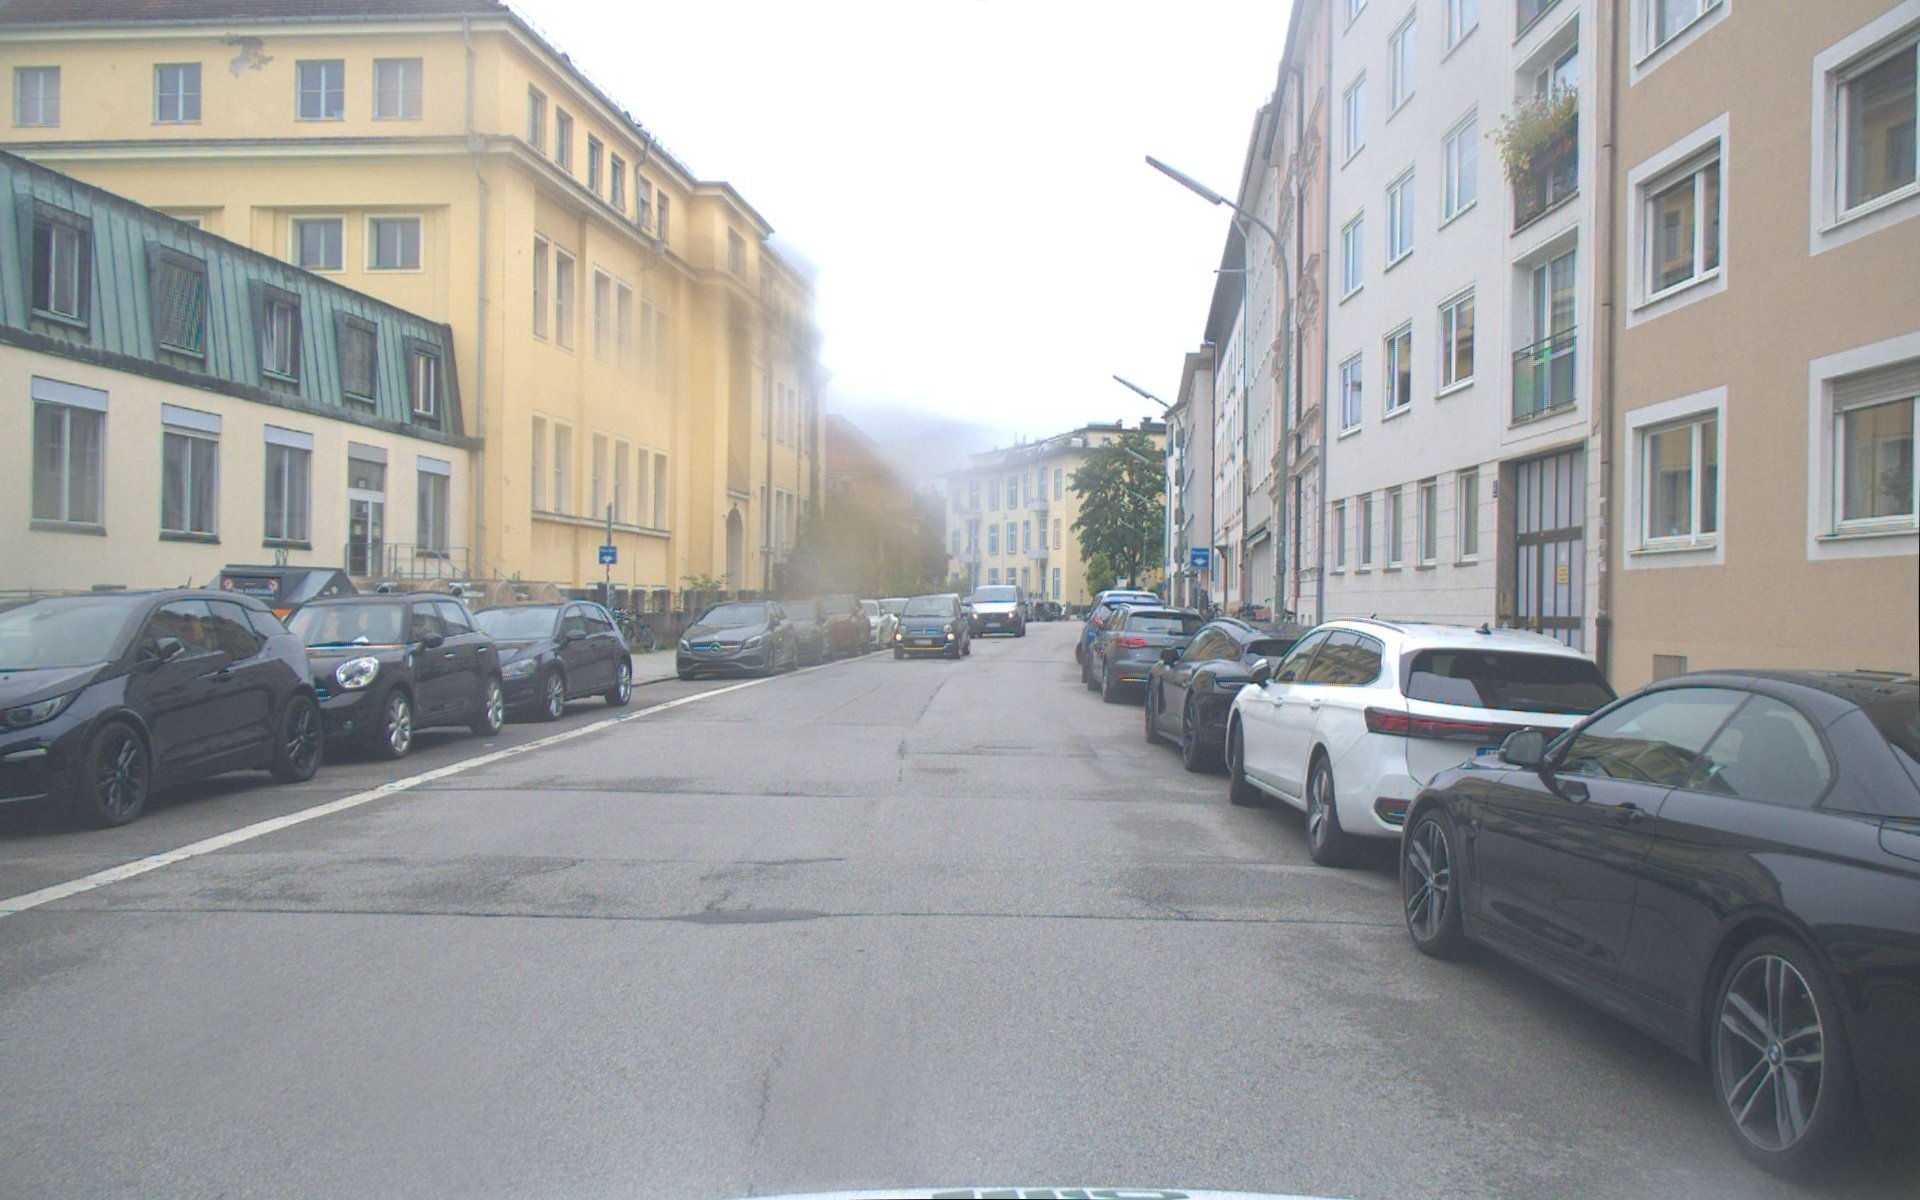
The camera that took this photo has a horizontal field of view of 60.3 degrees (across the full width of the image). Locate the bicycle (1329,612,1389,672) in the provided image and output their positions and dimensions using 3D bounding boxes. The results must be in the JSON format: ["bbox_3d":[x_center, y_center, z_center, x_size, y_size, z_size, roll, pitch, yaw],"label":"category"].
[{"bbox_3d":[7.553,0.776,31.376,0.518,1.090,1.999,1,0,-4],"label":"bicycle"}]

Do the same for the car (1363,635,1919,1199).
[{"bbox_3d":[3.091,0.937,6.007,1.723,1.389,4.777,5,-1,-4],"label":"car"}]

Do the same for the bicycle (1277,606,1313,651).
[{"bbox_3d":[8.101,0.686,40.087,0.583,1.042,1.818,0,0,3],"label":"bicycle"}]

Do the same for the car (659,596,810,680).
[{"bbox_3d":[-4.307,0.713,32.324,1.972,1.443,4.618,-2,-1,4],"label":"car"}]

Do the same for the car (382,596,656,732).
[{"bbox_3d":[-5.580,0.744,21.594,1.873,1.508,4.535,-2,0,6],"label":"car"}]

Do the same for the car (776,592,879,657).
[{"bbox_3d":[-3.292,0.604,41.976,1.917,1.508,4.531,-2,-1,4],"label":"car"}]

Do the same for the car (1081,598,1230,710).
[{"bbox_3d":[2.948,0.772,25.765,1.671,1.479,4.401,3,0,-1],"label":"car"}]

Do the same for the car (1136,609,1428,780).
[{"bbox_3d":[3.052,0.830,16.834,1.915,1.439,5.112,1,0,-1],"label":"car"}]

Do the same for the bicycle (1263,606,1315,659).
[{"bbox_3d":[7.309,0.707,36.841,0.708,1.132,1.994,1,0,-2],"label":"bicycle"}]

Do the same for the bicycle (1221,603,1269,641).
[{"bbox_3d":[8.616,0.645,49.919,0.610,1.108,1.804,0,0,40],"label":"bicycle"}]

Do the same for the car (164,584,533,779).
[{"bbox_3d":[-5.992,0.703,16.845,1.873,1.615,4.354,-3,1,3],"label":"car"}]

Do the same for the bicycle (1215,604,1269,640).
[{"bbox_3d":[8.615,0.662,50.520,1.827,1.086,0.509,0,0,-37],"label":"bicycle"}]

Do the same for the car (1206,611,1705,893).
[{"bbox_3d":[3.052,0.839,11.433,1.816,1.439,5.013,1,0,-2],"label":"car"}]

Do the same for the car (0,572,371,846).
[{"bbox_3d":[-6.255,0.691,12.342,1.841,1.665,4.351,-2,0,4],"label":"car"}]

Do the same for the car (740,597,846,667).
[{"bbox_3d":[-3.698,0.692,37.331,1.713,1.429,4.356,-2,0,3],"label":"car"}]

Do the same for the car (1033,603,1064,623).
[{"bbox_3d":[8.912,1.303,166.824,1.734,1.907,4.360,5,-1,-15],"label":"car"}]

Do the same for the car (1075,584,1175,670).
[{"bbox_3d":[3.524,0.561,35.843,1.647,1.702,3.803,2,0,-2],"label":"car"}]

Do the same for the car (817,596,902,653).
[{"bbox_3d":[-2.847,0.686,47.654,1.756,1.454,4.667,-3,-1,4],"label":"car"}]

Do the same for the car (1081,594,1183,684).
[{"bbox_3d":[3.171,0.664,30.558,1.705,1.520,4.551,1,0,6],"label":"car"}]

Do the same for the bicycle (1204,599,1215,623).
[{"bbox_3d":[13.639,0.598,90.262,0.518,1.239,2.104,1,0,7],"label":"bicycle"}]

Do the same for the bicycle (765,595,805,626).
[{"bbox_3d":[-7.333,0.457,69.468,1.591,1.290,0.527,0,0,7],"label":"bicycle"}]

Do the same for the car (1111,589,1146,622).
[{"bbox_3d":[13.177,0.453,129.615,2.037,2.272,5.243,5,-2,0],"label":"car"}]

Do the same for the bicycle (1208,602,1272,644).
[{"bbox_3d":[8.077,0.659,47.686,2.070,1.159,0.576,0,0,-38],"label":"bicycle"}]

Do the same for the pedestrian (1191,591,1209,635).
[{"bbox_3d":[10.248,0.562,70.616,0.707,1.794,0.905,1,-3,7],"label":"pedestrian"}]

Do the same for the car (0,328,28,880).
[{"bbox_3d":[-6.043,0.032,5.761,2.168,2.903,6.194,-2,0,-2],"label":"car"}]

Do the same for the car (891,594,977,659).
[{"bbox_3d":[-0.595,0.621,40.764,1.626,1.500,3.710,-1,0,6],"label":"car"}]

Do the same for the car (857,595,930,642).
[{"bbox_3d":[-2.164,0.599,55.210,1.747,1.457,4.655,1,0,6],"label":"car"}]

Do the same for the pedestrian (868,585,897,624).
[{"bbox_3d":[-3.434,0.193,73.422,0.883,1.749,1.058,-1,0,23],"label":"pedestrian"}]

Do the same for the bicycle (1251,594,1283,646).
[{"bbox_3d":[8.479,0.534,45.769,0.583,1.409,2.093,0,0,3],"label":"bicycle"}]

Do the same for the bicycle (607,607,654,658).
[{"bbox_3d":[-8.130,0.782,40.827,0.524,1.206,2.108,1,0,6],"label":"bicycle"}]

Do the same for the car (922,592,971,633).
[{"bbox_3d":[-0.541,0.531,70.443,1.709,1.662,4.858,-1,0,3],"label":"car"}]

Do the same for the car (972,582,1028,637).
[{"bbox_3d":[1.506,0.353,60.157,1.875,1.881,5.323,1,0,3],"label":"car"}]

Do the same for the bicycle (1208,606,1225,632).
[{"bbox_3d":[12.589,0.946,81.332,0.502,1.243,1.988,0,0,-1],"label":"bicycle"}]
